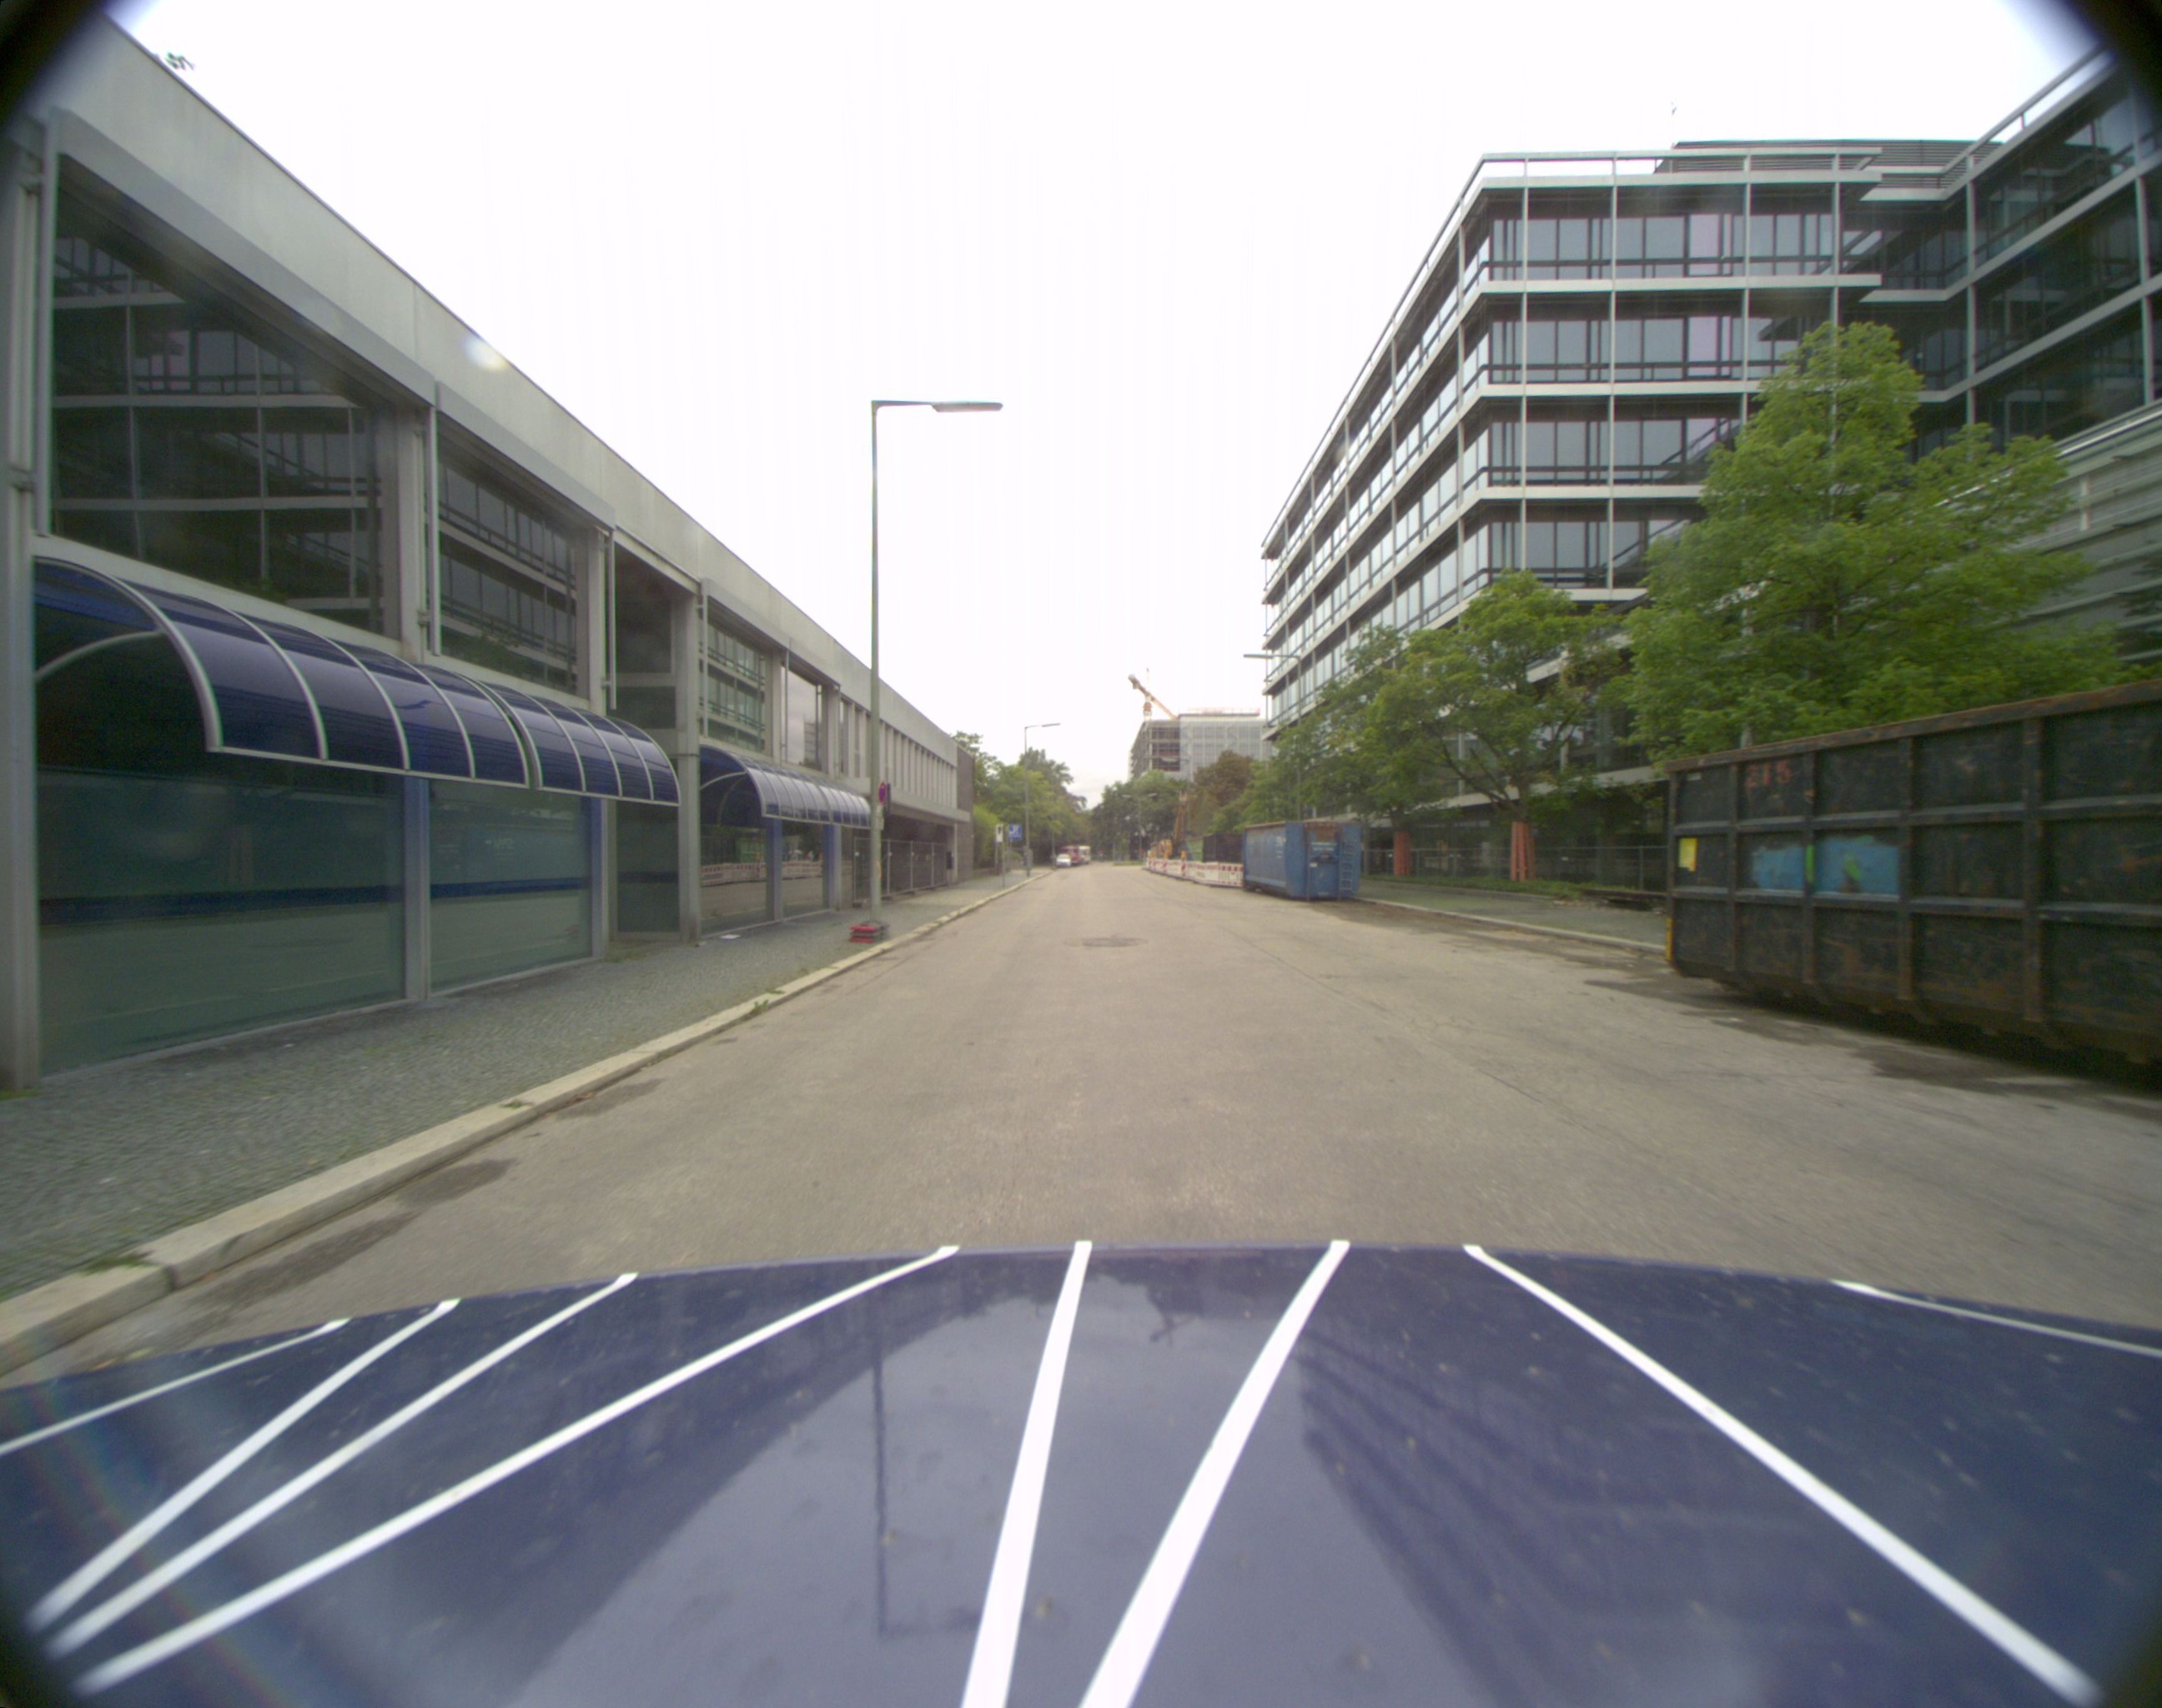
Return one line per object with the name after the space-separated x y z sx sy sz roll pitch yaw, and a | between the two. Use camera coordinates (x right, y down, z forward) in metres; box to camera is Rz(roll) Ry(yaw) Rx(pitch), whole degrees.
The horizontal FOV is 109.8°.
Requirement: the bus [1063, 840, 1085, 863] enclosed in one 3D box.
-0.823 -0.360 93.959 2.077 2.789 6.274 0 1 5 | bus

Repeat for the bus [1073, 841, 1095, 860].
0.444 -0.524 107.855 2.076 2.714 5.871 0 1 10 | bus

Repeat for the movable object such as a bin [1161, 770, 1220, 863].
8.271 -2.694 59.099 2.911 6.527 11.782 0 1 0 | movable object such as a bin

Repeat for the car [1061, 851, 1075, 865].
-1.509 0.396 86.756 1.536 1.483 4.059 0 1 -2 | car

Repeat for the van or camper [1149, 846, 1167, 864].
9.123 0.134 90.391 1.993 2.022 5.588 1 0 4 | van or camper
